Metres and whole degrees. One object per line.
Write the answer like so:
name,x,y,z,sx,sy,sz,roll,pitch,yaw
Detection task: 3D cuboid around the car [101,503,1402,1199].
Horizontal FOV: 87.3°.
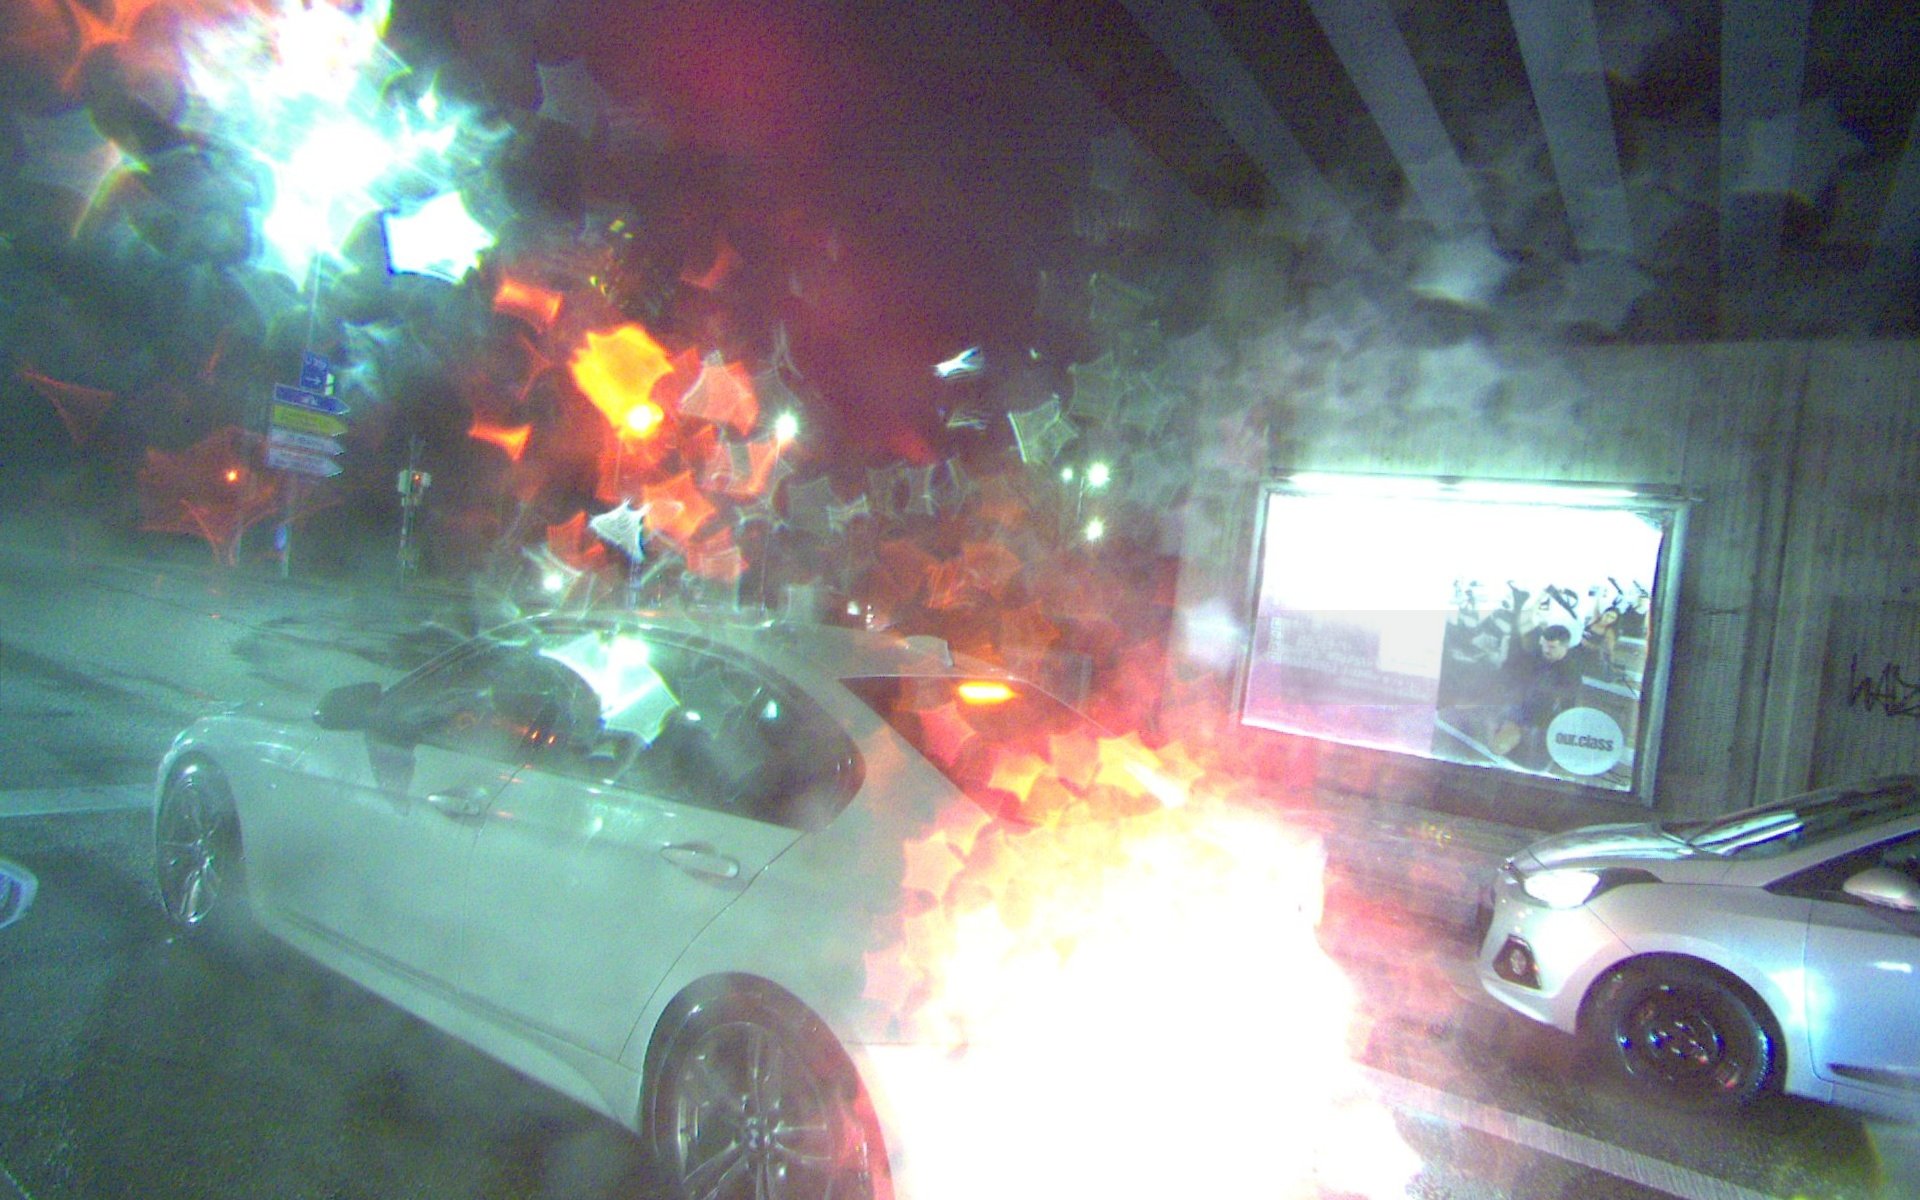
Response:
car,-0.964,0.608,3.508,4.309,1.465,1.722,6,0,31

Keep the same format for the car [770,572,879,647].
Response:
car,-4.356,0.364,32.828,1.673,2.037,3.567,6,-2,25

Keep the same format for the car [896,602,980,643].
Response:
car,-1.093,1.193,51.887,1.826,1.609,4.337,6,-2,38

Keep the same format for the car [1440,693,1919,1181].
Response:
car,4.298,1.400,3.983,4.092,1.465,1.722,6,0,31

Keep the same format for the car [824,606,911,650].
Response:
car,-4.713,1.450,51.881,1.954,1.775,4.341,6,-2,36

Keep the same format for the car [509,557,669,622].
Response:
car,-12.717,-0.309,34.742,1.826,1.609,4.850,6,-2,38

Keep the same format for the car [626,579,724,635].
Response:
car,-11.653,0.306,41.277,1.661,1.859,3.419,6,-2,36
